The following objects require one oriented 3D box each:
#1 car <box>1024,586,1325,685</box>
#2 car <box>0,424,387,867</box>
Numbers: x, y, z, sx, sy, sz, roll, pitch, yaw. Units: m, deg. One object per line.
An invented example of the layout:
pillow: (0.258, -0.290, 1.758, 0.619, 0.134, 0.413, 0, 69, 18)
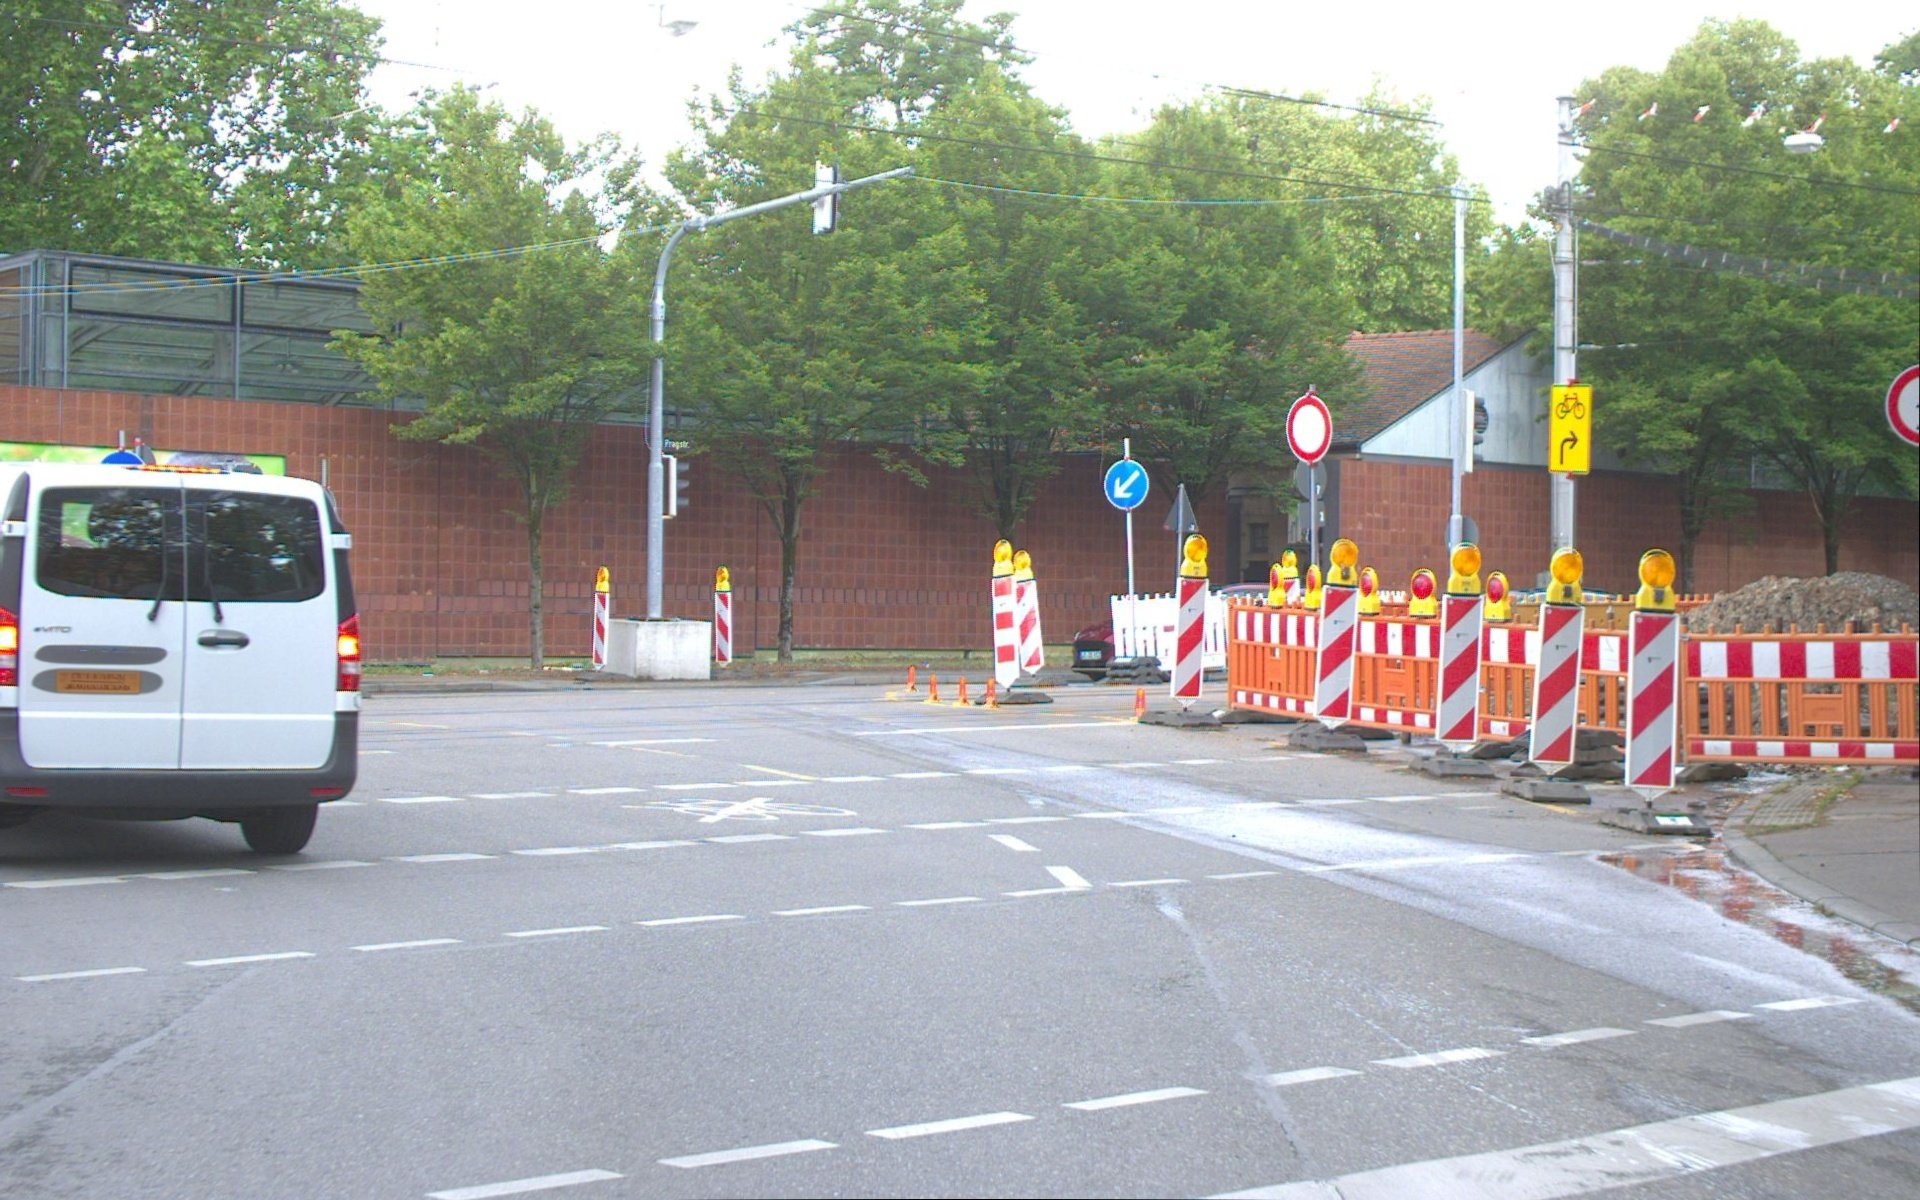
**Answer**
car: (3.309, 0.571, 52.662, 4.445, 1.438, 1.879, 1, -2, -37)
car: (-4.698, 0.216, 17.571, 1.917, 1.895, 4.702, 5, -2, -29)
